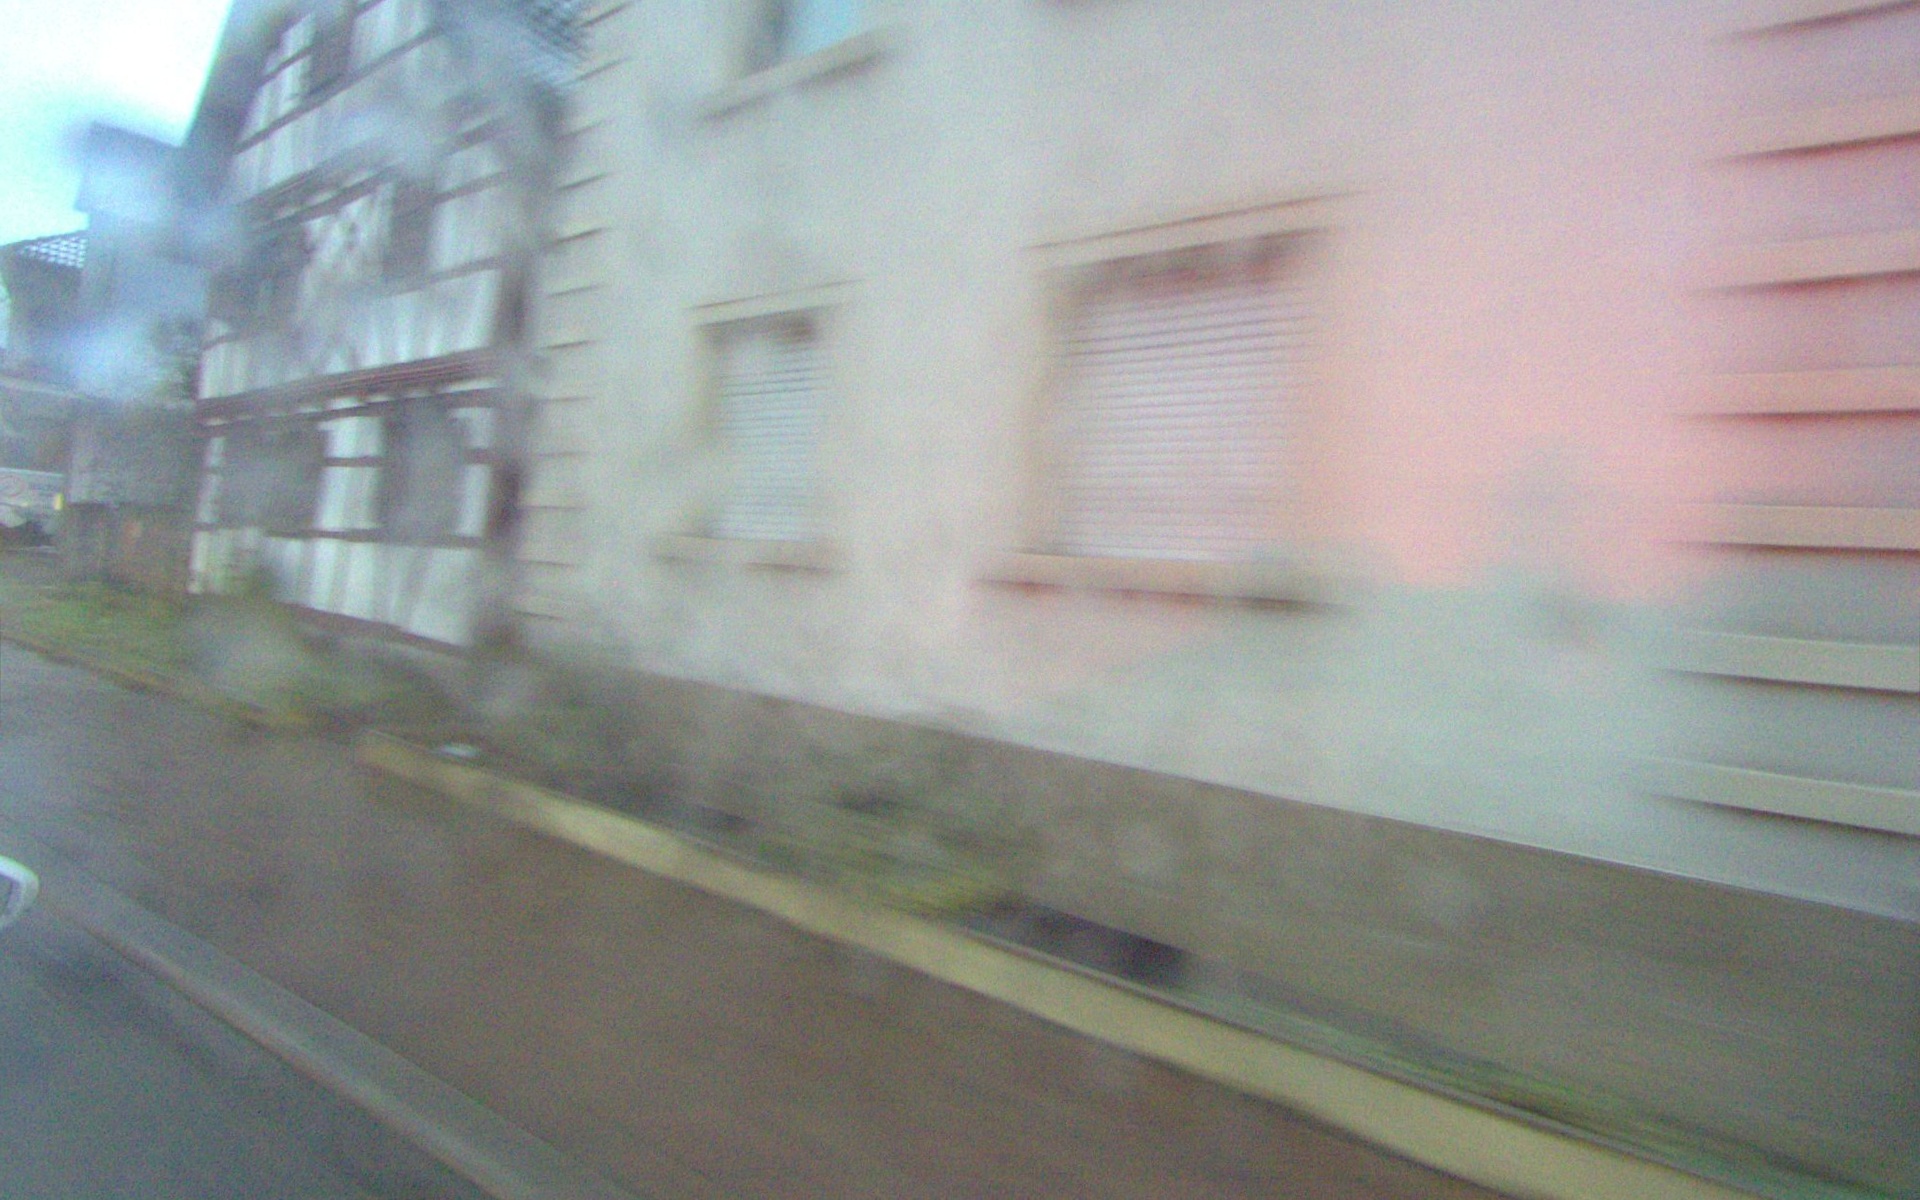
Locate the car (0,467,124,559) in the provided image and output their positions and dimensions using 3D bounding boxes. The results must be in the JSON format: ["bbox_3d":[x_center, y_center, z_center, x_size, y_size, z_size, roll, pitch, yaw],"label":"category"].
[{"bbox_3d":[-23.013,-2.206,23.672,4.964,1.913,1.912,5,2,-45],"label":"car"}]

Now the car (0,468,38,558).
[{"bbox_3d":[-22.036,-2.019,20.887,1.838,1.867,4.034,6,1,41],"label":"car"}]
